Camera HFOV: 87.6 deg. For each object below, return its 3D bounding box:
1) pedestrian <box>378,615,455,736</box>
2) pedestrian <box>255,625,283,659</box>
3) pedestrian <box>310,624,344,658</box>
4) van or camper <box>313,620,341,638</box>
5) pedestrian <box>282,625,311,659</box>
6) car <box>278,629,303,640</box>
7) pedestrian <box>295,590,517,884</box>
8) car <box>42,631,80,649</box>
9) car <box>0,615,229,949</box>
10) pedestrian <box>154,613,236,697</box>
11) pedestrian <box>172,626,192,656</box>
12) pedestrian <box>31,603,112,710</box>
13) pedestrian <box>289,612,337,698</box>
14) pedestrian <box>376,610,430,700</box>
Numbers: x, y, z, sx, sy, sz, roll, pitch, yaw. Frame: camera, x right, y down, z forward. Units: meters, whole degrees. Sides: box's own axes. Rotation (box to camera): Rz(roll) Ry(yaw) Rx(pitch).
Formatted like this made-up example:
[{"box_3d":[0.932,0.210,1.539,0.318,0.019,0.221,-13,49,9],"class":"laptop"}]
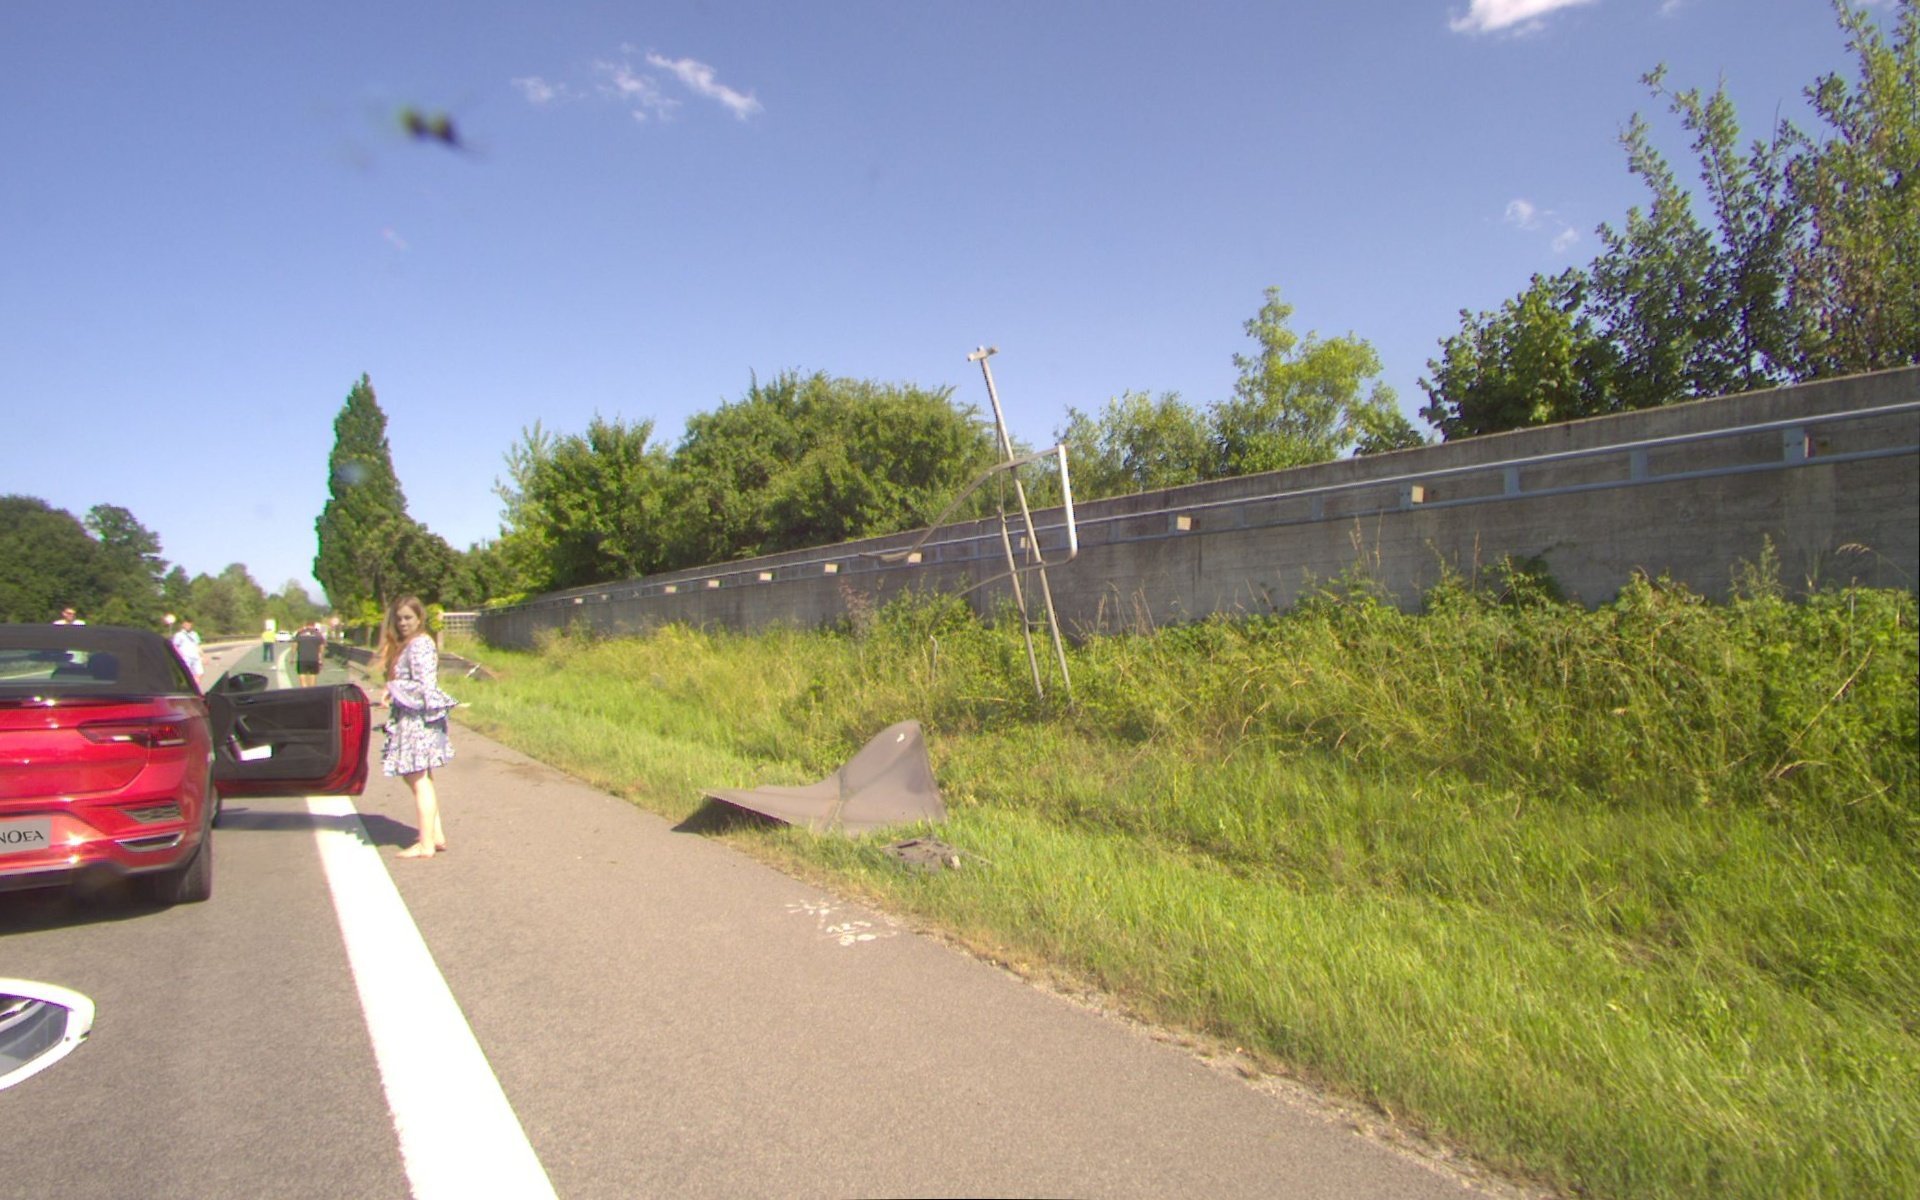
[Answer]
[{"box_3d":[-7.971,1.072,14.745,0.946,1.675,1.273,0,0,-27],"class":"pedestrian"},{"box_3d":[-35.249,2.143,51.117,1.044,1.710,1.013,1,-2,-29],"class":"pedestrian"},{"box_3d":[-31.901,2.079,50.476,0.980,1.710,1.011,0,-2,5],"class":"pedestrian"},{"box_3d":[-85.118,3.889,134.691,1.965,2.345,4.463,1,-2,-17],"class":"van or camper"},{"box_3d":[-33.500,2.135,50.594,1.101,1.710,0.969,1,-2,-28],"class":"pedestrian"},{"box_3d":[-90.474,4.666,135.321,1.708,1.506,4.202,1,-2,-19],"class":"car"},{"box_3d":[-3.628,0.812,6.564,1.116,1.717,0.885,0,0,-40],"class":"pedestrian"},{"box_3d":[-76.974,3.416,85.807,1.677,1.444,4.280,2,-2,-32],"class":"car"},{"box_3d":[-5.637,0.865,6.169,1.716,1.506,4.182,2,-2,-35],"class":"car"},{"box_3d":[-17.219,1.225,22.549,1.090,1.811,1.088,0,-2,27],"class":"pedestrian"},{"box_3d":[-44.458,2.330,57.219,0.783,1.710,0.788,1,-2,-30],"class":"pedestrian"},{"box_3d":[-16.775,1.036,18.920,1.097,1.937,1.246,0,0,-42],"class":"pedestrian"},{"box_3d":[-13.673,1.158,21.167,0.804,1.782,0.823,2,-2,-35],"class":"pedestrian"},{"box_3d":[-11.060,1.082,19.877,0.885,1.746,0.750,1,-2,-31],"class":"pedestrian"}]
